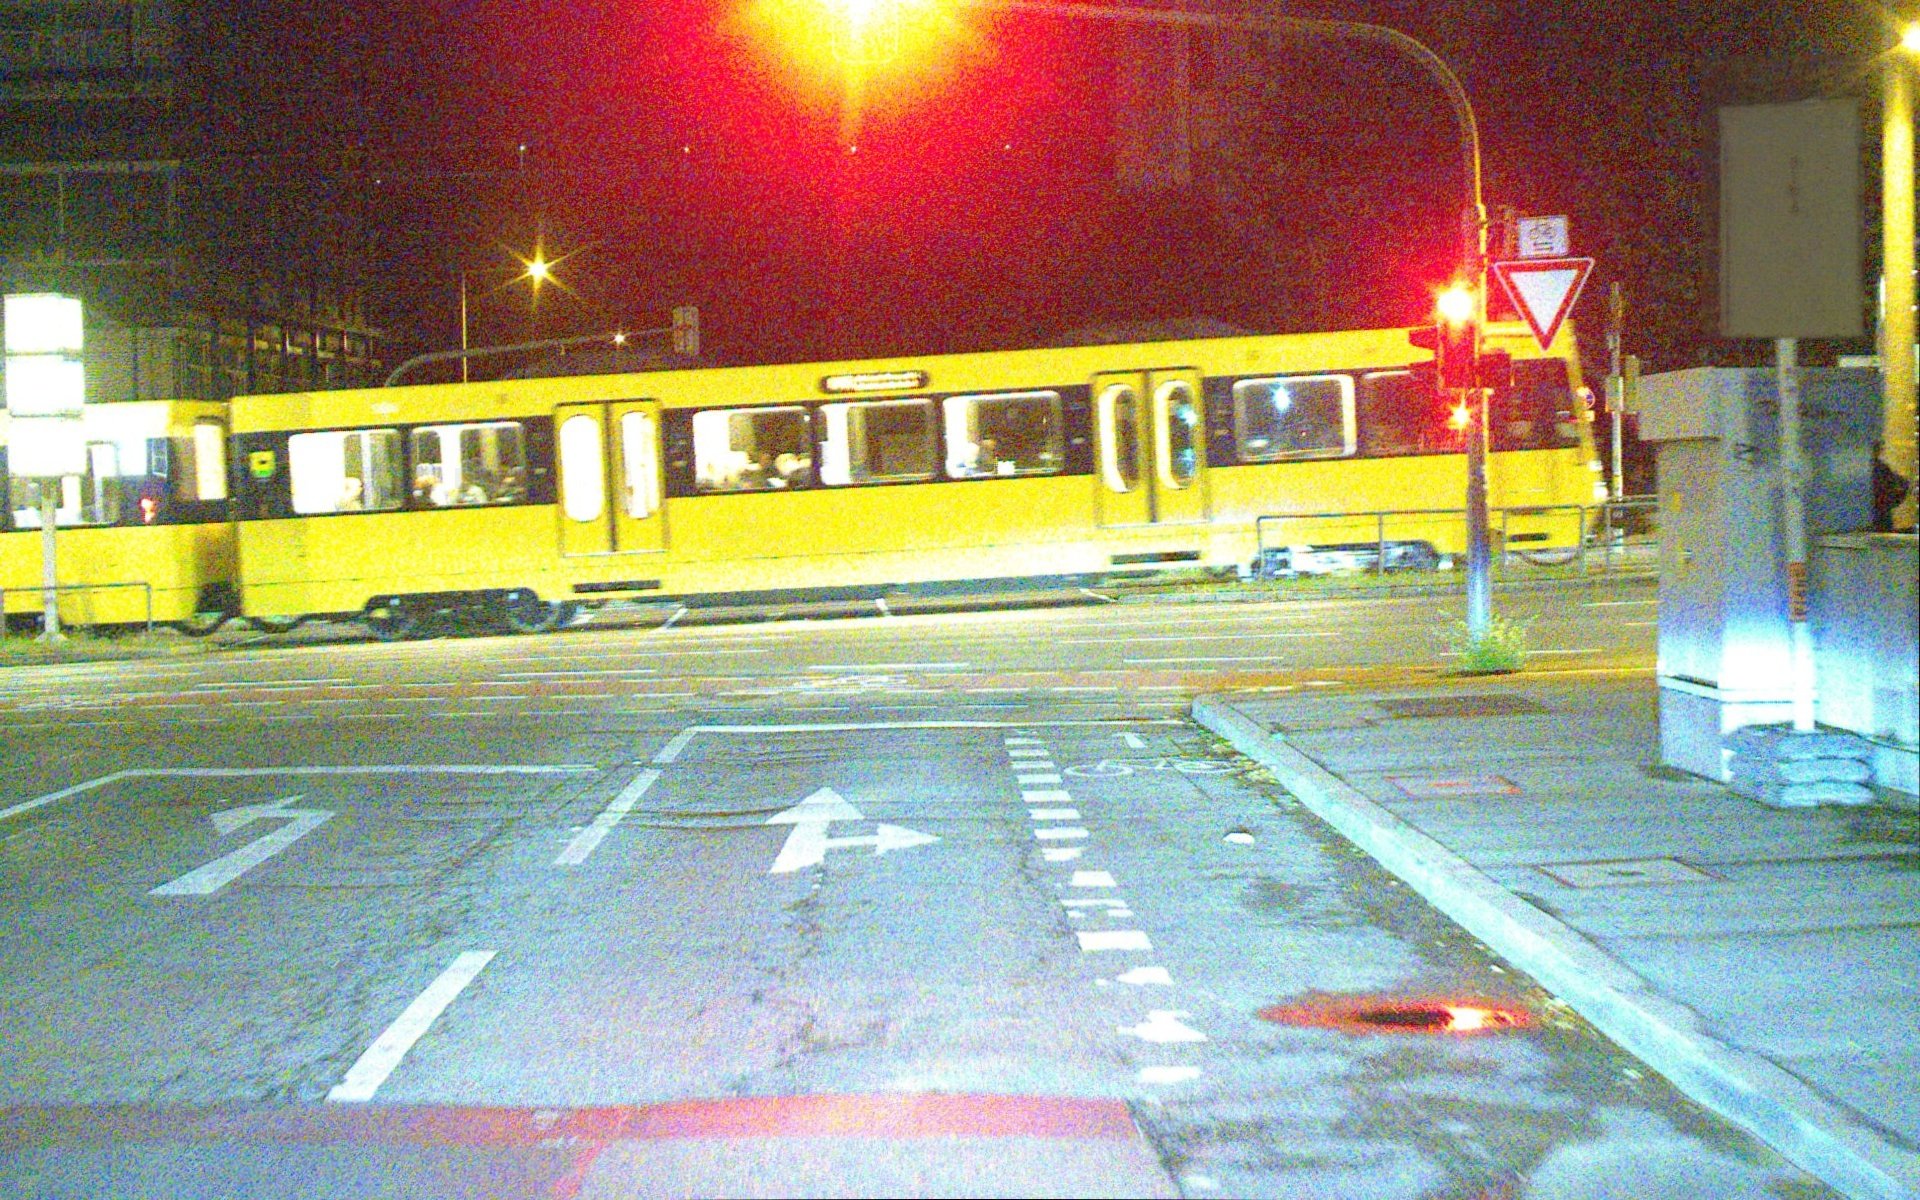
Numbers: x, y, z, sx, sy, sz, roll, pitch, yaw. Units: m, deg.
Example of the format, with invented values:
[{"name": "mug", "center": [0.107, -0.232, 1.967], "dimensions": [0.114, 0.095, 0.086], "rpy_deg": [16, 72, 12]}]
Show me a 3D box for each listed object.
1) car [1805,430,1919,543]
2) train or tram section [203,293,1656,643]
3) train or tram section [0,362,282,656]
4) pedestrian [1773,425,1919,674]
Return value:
[{"name": "car", "center": [15.822, -1.898, 53.959], "dimensions": [4.614, 1.634, 2.000], "rpy_deg": [-4, 1, 5]}, {"name": "train or tram section", "center": [-0.449, -1.744, 46.944], "dimensions": [19.177, 3.810, 2.923], "rpy_deg": [-2, 1, 5]}, {"name": "train or tram section", "center": [-19.780, -0.945, 48.733], "dimensions": [19.796, 3.848, 2.940], "rpy_deg": [-2, 1, 5]}, {"name": "pedestrian", "center": [6.381, -0.362, 24.598], "dimensions": [0.900, 1.706, 0.775], "rpy_deg": [-3, 1, 5]}]
